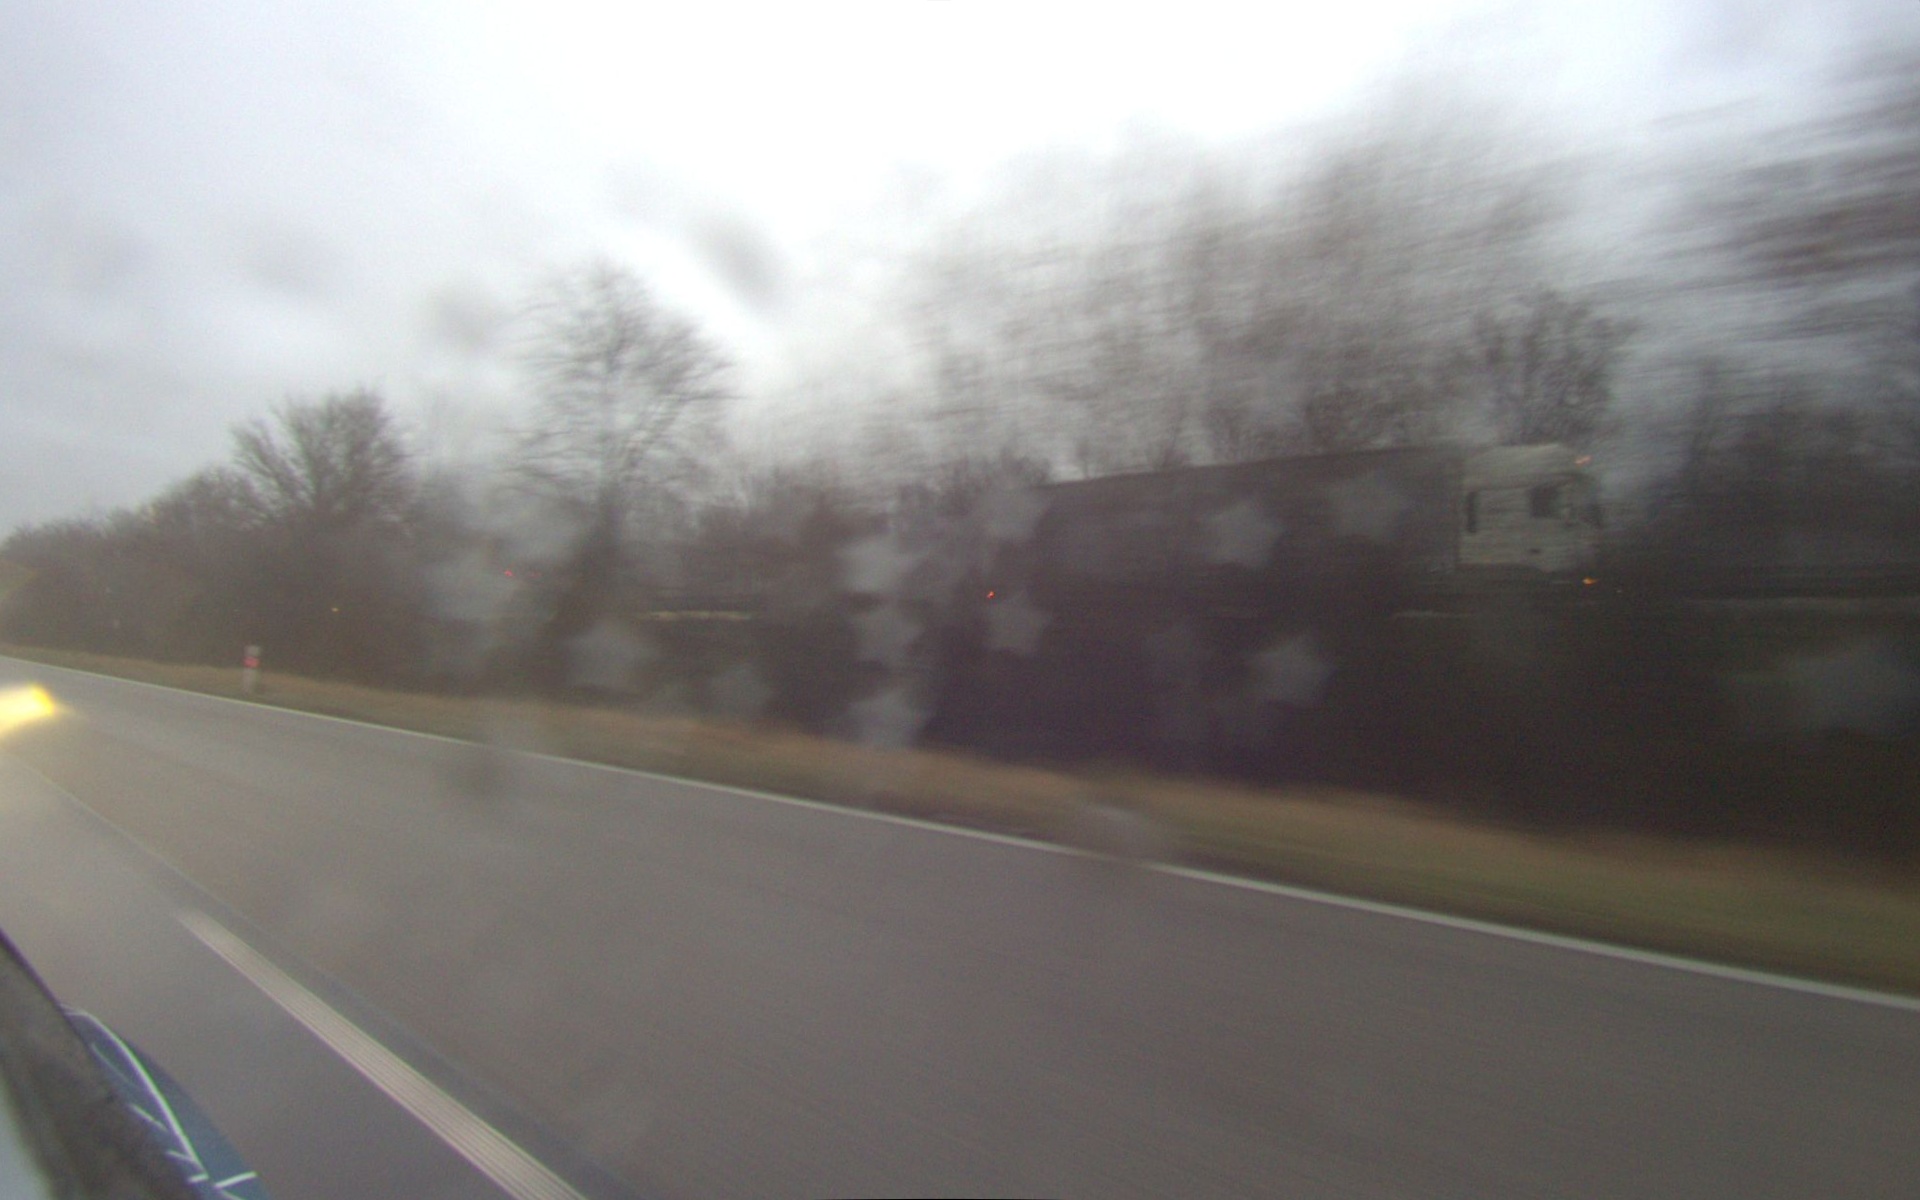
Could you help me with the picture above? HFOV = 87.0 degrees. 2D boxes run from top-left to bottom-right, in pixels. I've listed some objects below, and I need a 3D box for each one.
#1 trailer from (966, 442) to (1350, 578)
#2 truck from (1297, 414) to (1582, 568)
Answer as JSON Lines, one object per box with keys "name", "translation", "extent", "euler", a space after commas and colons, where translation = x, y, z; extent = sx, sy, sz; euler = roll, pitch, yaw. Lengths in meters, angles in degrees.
{"name": "trailer", "translation": [5.127, -2.259, 28.896], "extent": [11.079, 2.913, 2.410], "euler": [-1, -1, 41]}
{"name": "truck", "translation": [11.103, -2.348, 23.703], "extent": [5.580, 2.909, 2.424], "euler": [-1, -1, 41]}
